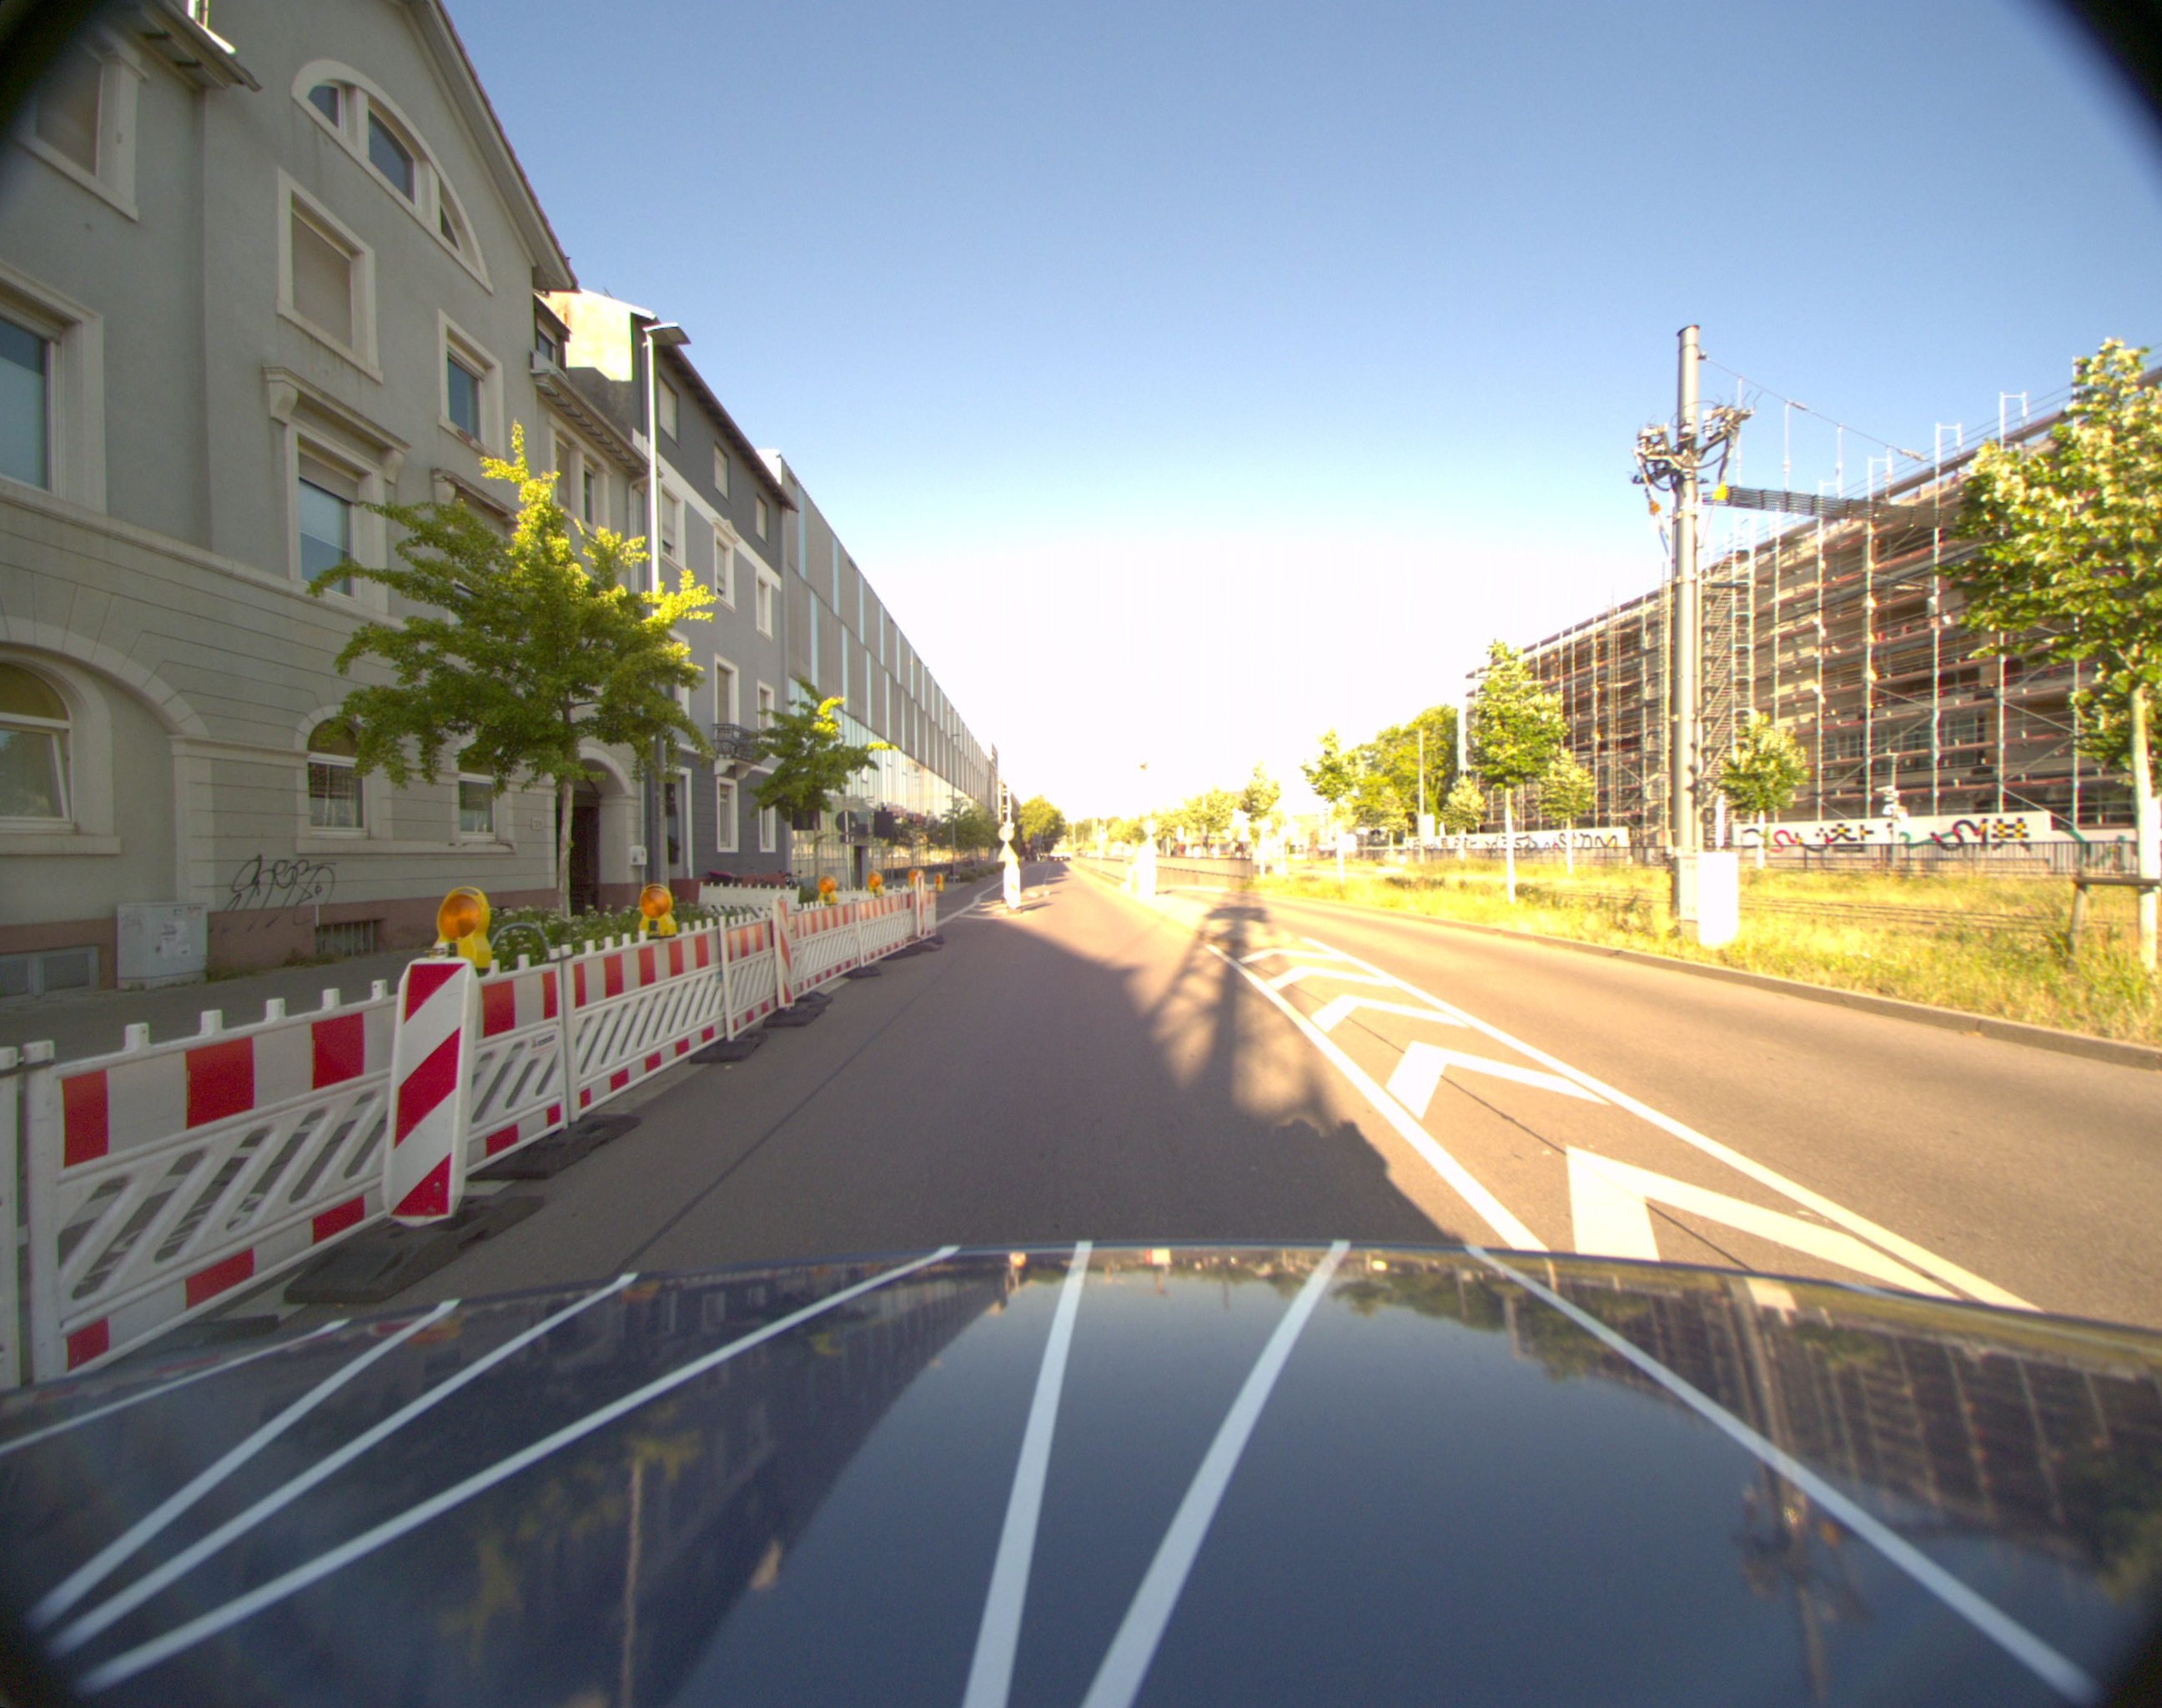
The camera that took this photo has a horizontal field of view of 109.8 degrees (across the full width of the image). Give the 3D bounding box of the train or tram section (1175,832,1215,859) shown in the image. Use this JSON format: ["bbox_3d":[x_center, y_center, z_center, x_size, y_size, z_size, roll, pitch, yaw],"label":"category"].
[{"bbox_3d":[15.927,-1.222,107.850,2.954,3.378,14.761,-2,1,-2],"label":"train or tram section"}]

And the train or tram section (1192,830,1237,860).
[{"bbox_3d":[16.322,-1.076,94.148,2.954,3.378,12.630,-2,1,-2],"label":"train or tram section"}]

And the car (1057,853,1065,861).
[{"bbox_3d":[-4.999,0.803,187.362,1.941,2.002,3.825,-1,0,-3],"label":"car"}]
